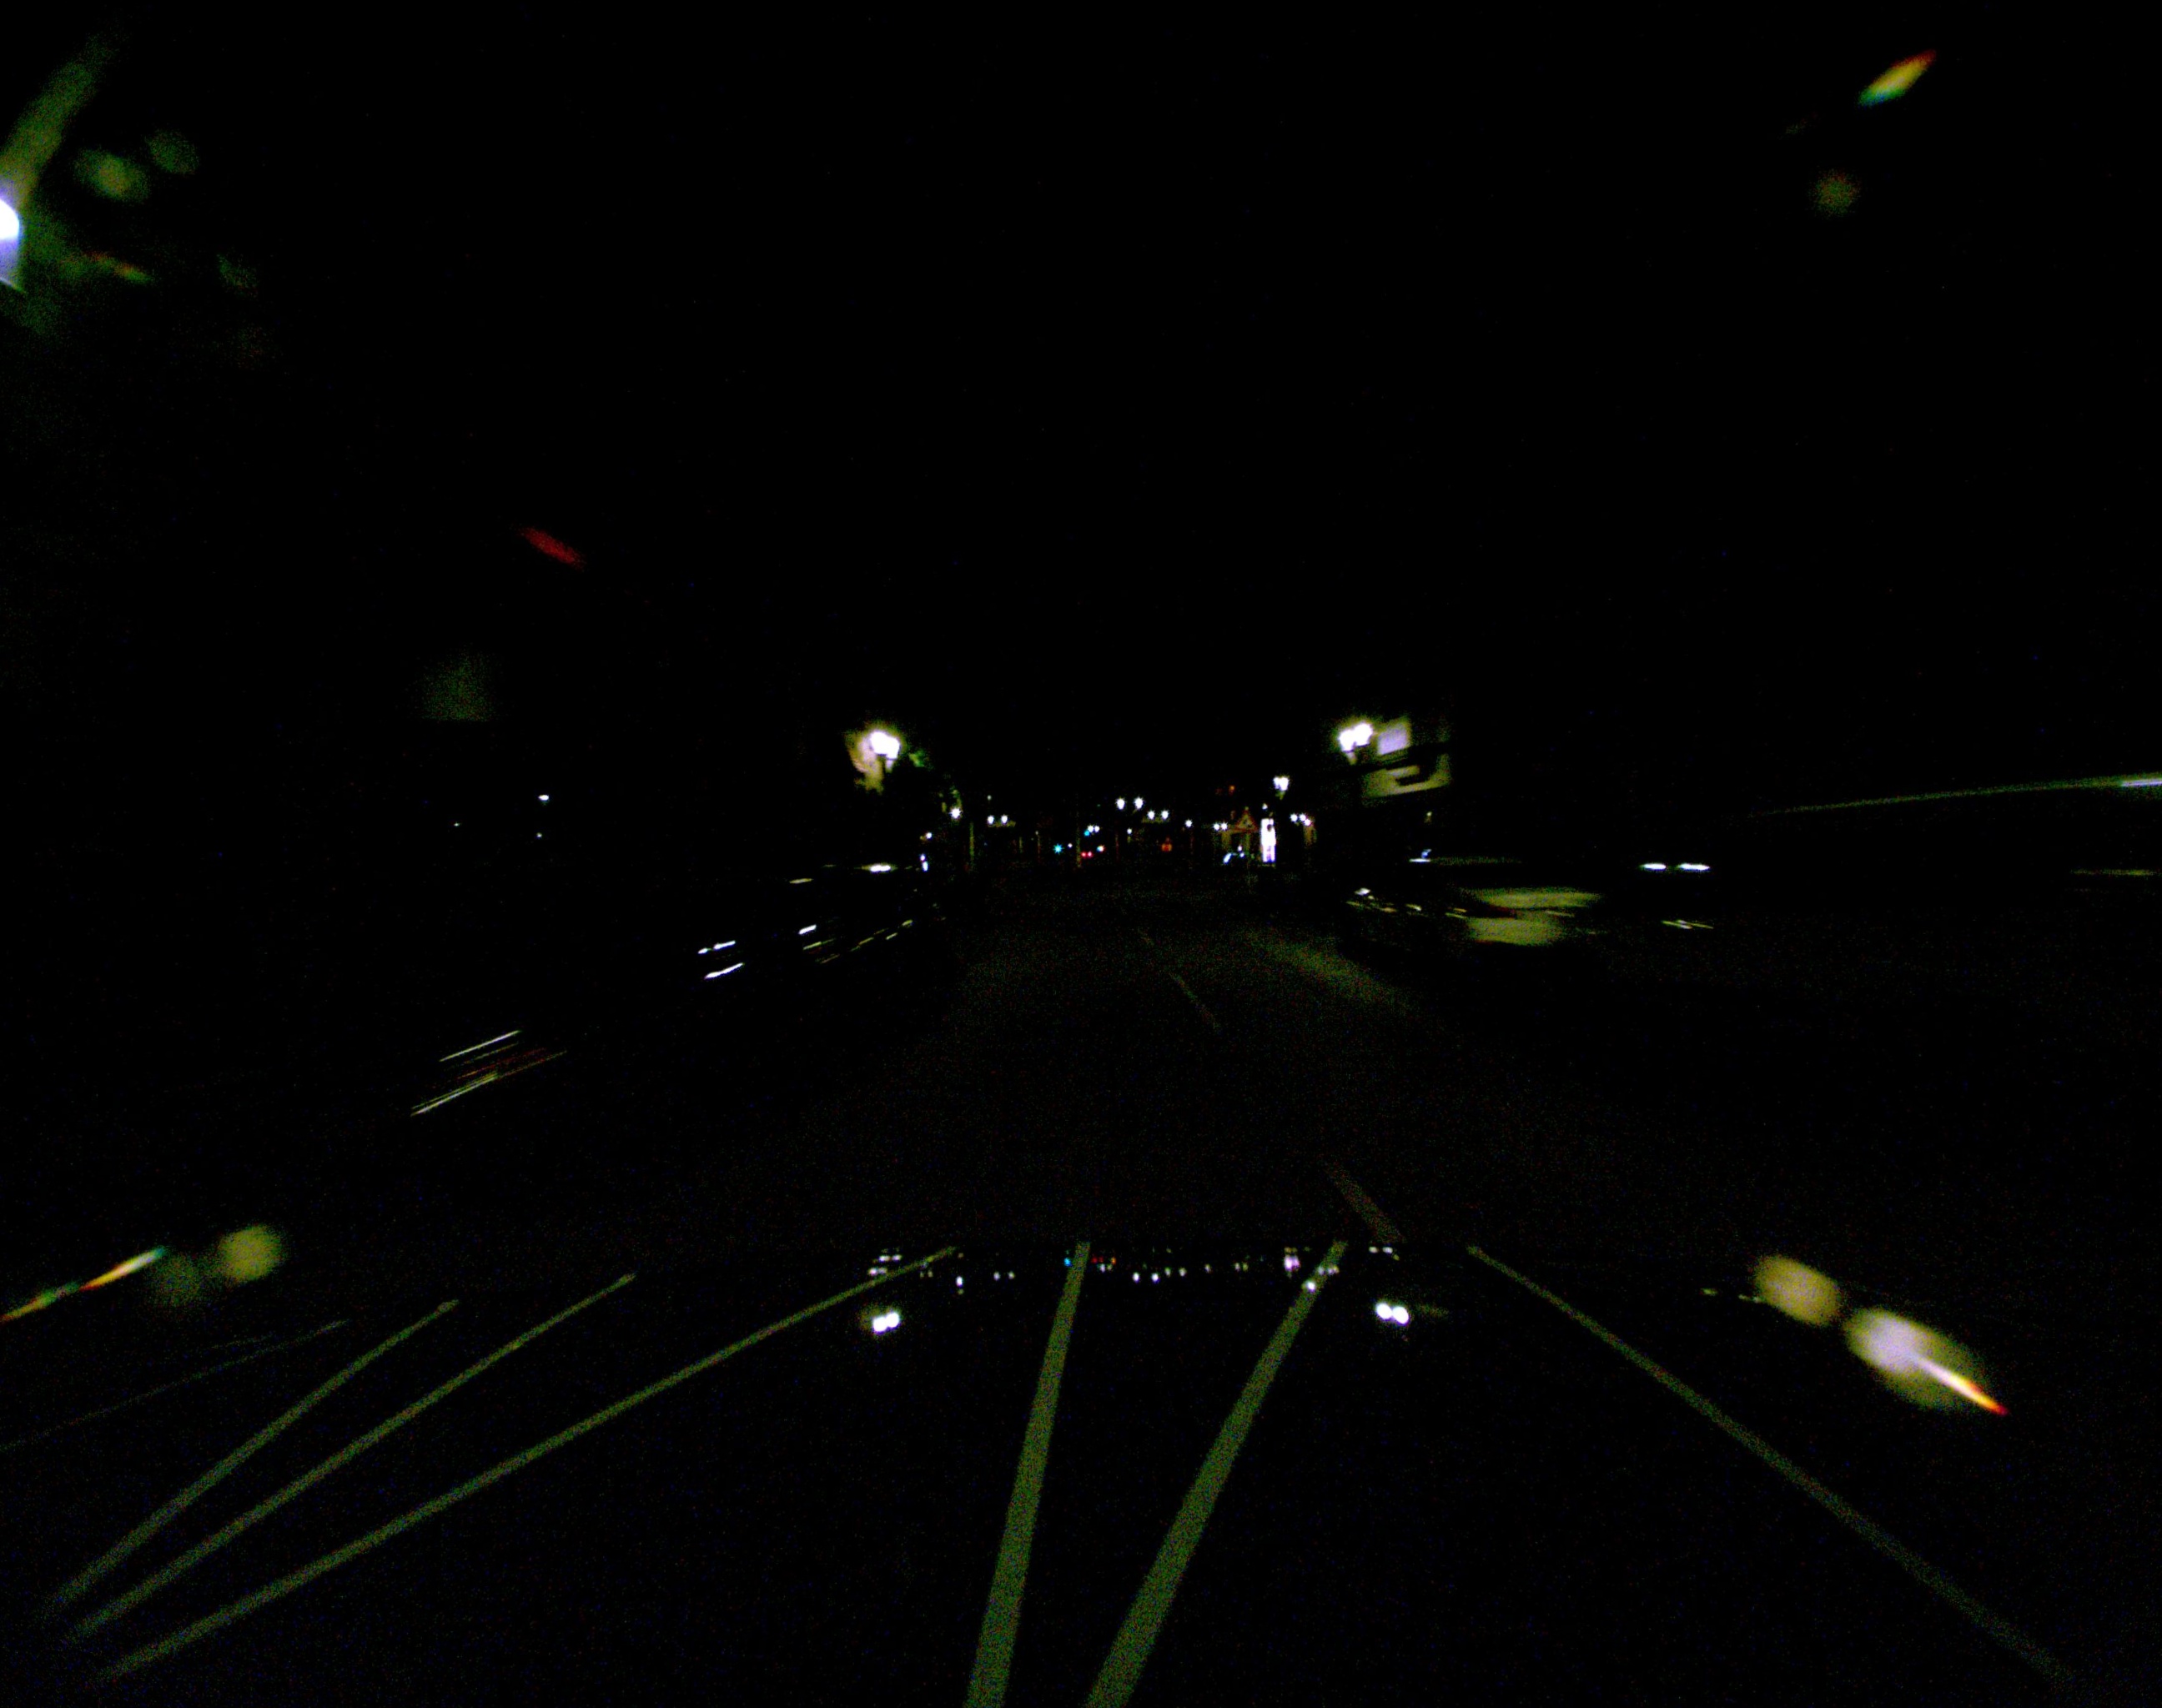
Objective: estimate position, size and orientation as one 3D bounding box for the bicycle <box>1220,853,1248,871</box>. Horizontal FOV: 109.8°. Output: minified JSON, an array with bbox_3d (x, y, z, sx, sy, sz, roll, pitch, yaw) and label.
[{"bbox_3d":[10.228,0.550,50.765,1.772,1.144,0.615,-1,1,42],"label":"bicycle"}]

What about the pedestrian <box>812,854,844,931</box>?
[{"bbox_3d":[-5.695,0.854,17.130,0.478,1.699,0.571,-1,1,1],"label":"pedestrian"}]

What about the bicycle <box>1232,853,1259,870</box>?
[{"bbox_3d":[11.215,0.521,51.874,0.583,1.144,1.773,-3,1,-42],"label":"bicycle"}]

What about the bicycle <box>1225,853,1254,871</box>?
[{"bbox_3d":[10.709,0.535,51.365,1.772,1.144,0.583,-1,1,42],"label":"bicycle"}]

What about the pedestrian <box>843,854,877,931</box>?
[{"bbox_3d":[-5.022,0.854,17.291,0.508,1.699,0.705,-1,1,1],"label":"pedestrian"}]

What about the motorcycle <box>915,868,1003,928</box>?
[{"bbox_3d":[-2.968,1.039,18.535,1.948,1.345,0.761,-2,1,-35],"label":"motorcycle"}]

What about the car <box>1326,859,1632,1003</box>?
[{"bbox_3d":[5.202,0.870,10.879,1.843,1.441,4.881,-3,1,1],"label":"car"}]

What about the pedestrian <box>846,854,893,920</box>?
[{"bbox_3d":[-5.408,0.829,19.486,0.809,1.621,0.966,-3,1,1],"label":"pedestrian"}]

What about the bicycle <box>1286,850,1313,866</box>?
[{"bbox_3d":[15.926,0.313,55.481,1.789,1.128,0.630,-1,1,42],"label":"bicycle"}]

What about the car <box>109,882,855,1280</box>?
[{"bbox_3d":[-3.074,1.023,5.135,1.740,1.445,4.000,-1,0,2],"label":"car"}]

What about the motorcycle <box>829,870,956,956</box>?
[{"bbox_3d":[-3.229,0.991,13.226,2.059,1.398,0.923,0,0,-9],"label":"motorcycle"}]

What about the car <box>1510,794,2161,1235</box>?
[{"bbox_3d":[5.372,0.629,5.343,1.888,1.832,4.814,-2,0,-1],"label":"car"}]

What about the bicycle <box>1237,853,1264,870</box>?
[{"bbox_3d":[11.685,0.518,52.293,0.583,1.144,1.773,-3,1,-42],"label":"bicycle"}]

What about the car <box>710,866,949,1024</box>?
[{"bbox_3d":[-3.001,0.978,10.140,1.737,1.492,4.466,-2,1,-1],"label":"car"}]

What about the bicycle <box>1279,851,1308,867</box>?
[{"bbox_3d":[15.213,0.358,54.471,1.865,1.128,0.726,-1,1,42],"label":"bicycle"}]

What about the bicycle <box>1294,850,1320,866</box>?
[{"bbox_3d":[16.600,0.319,55.870,1.655,1.128,0.644,-1,1,43],"label":"bicycle"}]

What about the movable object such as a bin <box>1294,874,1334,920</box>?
[{"bbox_3d":[5.673,1.026,18.524,0.690,1.043,0.624,-4,2,-40],"label":"movable object such as a bin"}]

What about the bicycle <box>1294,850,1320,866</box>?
[{"bbox_3d":[16.957,0.286,57.032,1.770,1.134,0.688,-1,1,43],"label":"bicycle"}]

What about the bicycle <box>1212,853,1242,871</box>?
[{"bbox_3d":[9.663,0.565,50.176,1.783,1.144,0.761,-1,1,42],"label":"bicycle"}]
